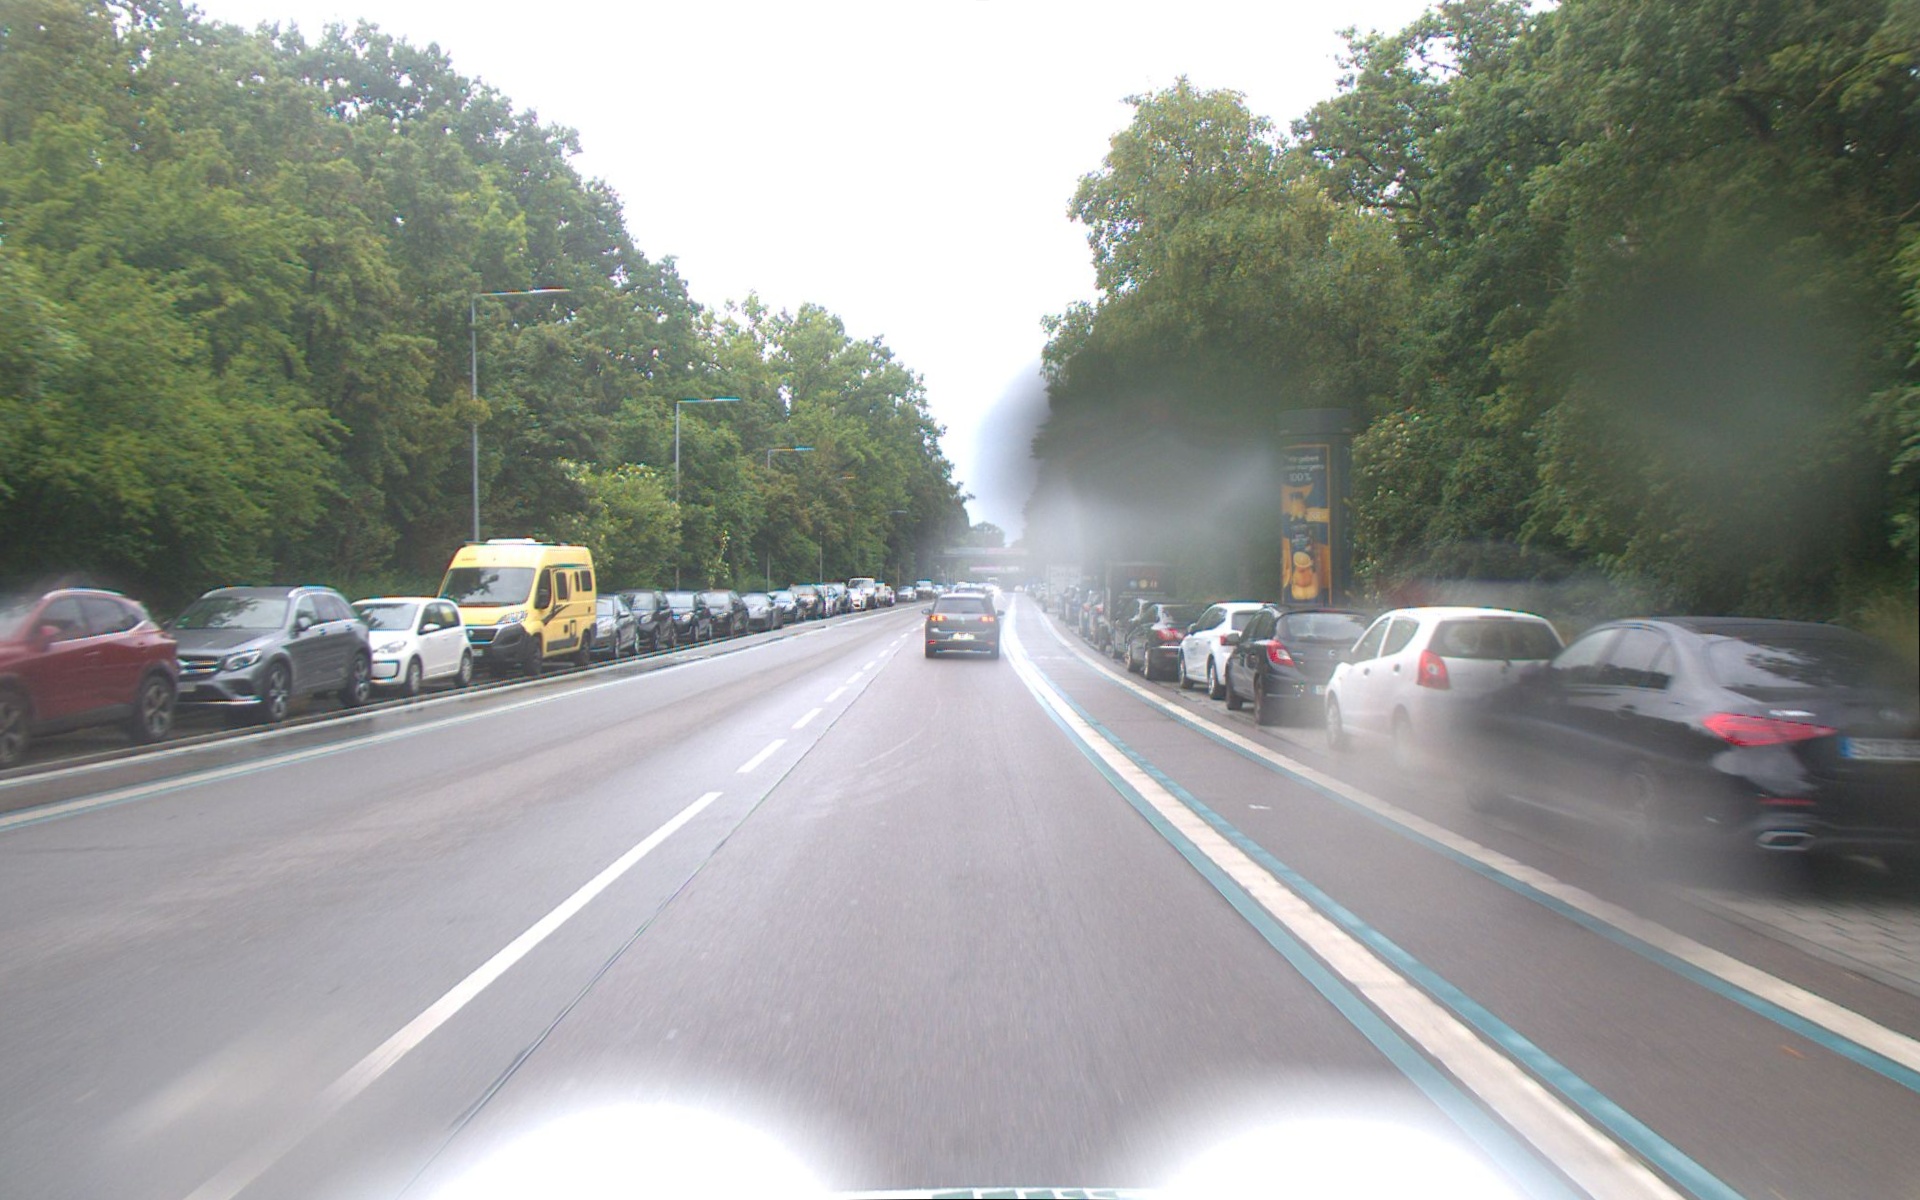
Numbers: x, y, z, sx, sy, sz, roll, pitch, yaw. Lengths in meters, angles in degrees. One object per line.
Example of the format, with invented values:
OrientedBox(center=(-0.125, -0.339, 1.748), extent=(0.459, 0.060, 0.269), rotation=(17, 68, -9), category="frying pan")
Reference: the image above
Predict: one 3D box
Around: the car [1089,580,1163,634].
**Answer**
OrientedBox(center=(4.753, 0.161, 47.897), extent=(1.758, 1.475, 4.429), rotation=(-1, 1, 1), category="car")

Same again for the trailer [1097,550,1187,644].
OrientedBox(center=(4.603, -0.114, 42.505), extent=(1.866, 2.287, 4.769), rotation=(0, 1, 1), category="trailer")

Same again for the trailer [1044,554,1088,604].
OrientedBox(center=(5.686, -1.151, 89.064), extent=(2.088, 2.605, 4.297), rotation=(0, 1, -1), category="trailer")

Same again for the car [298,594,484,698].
OrientedBox(center=(-9.028, 0.680, 26.532), extent=(1.584, 1.474, 3.658), rotation=(-1, 1, 2), category="car")

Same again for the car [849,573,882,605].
OrientedBox(center=(-6.119, -0.724, 107.516), extent=(1.900, 2.049, 4.739), rotation=(0, 1, -1), category="car")

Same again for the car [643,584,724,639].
OrientedBox(center=(-8.186, 0.303, 49.250), extent=(1.569, 1.536, 3.978), rotation=(0, 1, 3), category="car")

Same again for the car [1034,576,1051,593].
OrientedBox(center=(9.820, -1.870, 197.262), extent=(1.952, 2.049, 4.000), rotation=(0, 0, 1), category="car")

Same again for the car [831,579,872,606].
OrientedBox(center=(-6.348, -0.451, 97.139), extent=(1.952, 1.514, 4.470), rotation=(0, 1, 2), category="car")

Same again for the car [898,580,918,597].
OrientedBox(center=(-4.814, -1.100, 152.503), extent=(1.638, 1.540, 3.631), rotation=(0, 1, 1), category="car")

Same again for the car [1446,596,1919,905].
OrientedBox(center=(4.730, 0.746, 10.583), extent=(1.818, 1.480, 4.751), rotation=(1, 1, 0), category="car")

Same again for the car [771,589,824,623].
OrientedBox(center=(-6.729, 0.243, 68.889), extent=(1.661, 1.323, 4.194), rotation=(0, 1, 2), category="car")

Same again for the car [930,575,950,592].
OrientedBox(center=(-2.402, -1.984, 201.868), extent=(2.113, 2.049, 5.033), rotation=(-1, 1, 3), category="car")

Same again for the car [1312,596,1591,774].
OrientedBox(center=(4.626, 0.731, 16.085), extent=(1.528, 1.486, 3.675), rotation=(1, 1, -2), category="car")

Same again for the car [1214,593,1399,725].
OrientedBox(center=(4.430, 0.695, 21.654), extent=(1.625, 1.490, 3.900), rotation=(2, 1, 1), category="car")

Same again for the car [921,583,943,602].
OrientedBox(center=(-3.107, -0.832, 185.786), extent=(2.113, 2.049, 5.033), rotation=(-1, 1, 3), category="car")

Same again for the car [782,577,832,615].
OrientedBox(center=(-6.822, -0.208, 74.088), extent=(1.661, 1.611, 4.140), rotation=(0, 1, 2), category="car")

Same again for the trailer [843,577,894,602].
OrientedBox(center=(-6.230, -0.731, 112.855), extent=(1.596, 1.657, 3.663), rotation=(0, 1, 32), category="trailer")

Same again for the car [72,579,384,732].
OrientedBox(center=(-9.185, 0.605, 21.249), extent=(1.953, 1.730, 4.615), rotation=(0, 1, 0), category="car")

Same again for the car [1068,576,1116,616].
OrientedBox(center=(5.256, -0.193, 66.199), extent=(1.647, 1.507, 4.319), rotation=(0, 1, 1), category="car")

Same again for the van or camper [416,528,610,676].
OrientedBox(center=(-8.770, -0.001, 33.072), extent=(2.099, 2.673, 5.684), rotation=(-1, 1, 2), category="van or camper")

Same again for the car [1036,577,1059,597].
OrientedBox(center=(7.285, -1.129, 137.587), extent=(1.858, 1.634, 4.001), rotation=(0, 1, 2), category="car")

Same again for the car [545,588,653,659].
OrientedBox(center=(-8.453, 0.518, 39.021), extent=(1.645, 1.524, 4.148), rotation=(-1, 1, -1), category="car")

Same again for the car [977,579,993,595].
OrientedBox(center=(3.166, -1.641, 211.753), extent=(1.953, 2.049, 3.999), rotation=(0, 0, -1), category="car")

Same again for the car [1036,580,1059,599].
OrientedBox(center=(7.524, -0.916, 142.201), extent=(1.858, 1.634, 4.001), rotation=(0, 1, 2), category="car")

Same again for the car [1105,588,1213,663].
OrientedBox(center=(4.397, 0.526, 37.080), extent=(1.785, 1.511, 4.199), rotation=(2, 1, -2), category="car")

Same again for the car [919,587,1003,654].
OrientedBox(center=(0.007, 0.476, 38.851), extent=(1.833, 1.466, 4.295), rotation=(1, -1, 0), category="car")

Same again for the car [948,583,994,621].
OrientedBox(center=(0.447, 0.060, 70.754), extent=(1.843, 1.491, 3.999), rotation=(2, 1, -1), category="car")

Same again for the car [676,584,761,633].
OrientedBox(center=(-7.808, 0.247, 53.830), extent=(1.952, 1.477, 4.140), rotation=(0, 1, 3), category="car")

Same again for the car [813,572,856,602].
OrientedBox(center=(-6.833, -0.746, 90.651), extent=(1.840, 1.588, 4.470), rotation=(0, 1, 2), category="car")

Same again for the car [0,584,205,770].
OrientedBox(center=(-9.439, 0.693, 16.184), extent=(1.879, 1.645, 4.491), rotation=(-1, 1, 2), category="car")

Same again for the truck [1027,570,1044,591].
OrientedBox(center=(9.660, -2.538, 212.300), extent=(2.069, 2.644, 4.302), rotation=(-1, 1, 2), category="truck")

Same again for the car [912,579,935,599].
OrientedBox(center=(-3.881, -1.191, 177.648), extent=(2.113, 2.049, 5.033), rotation=(-1, 1, 3), category="car")

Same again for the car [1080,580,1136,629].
OrientedBox(center=(4.761, 0.108, 53.520), extent=(1.581, 1.496, 4.001), rotation=(1, 1, 2), category="car")

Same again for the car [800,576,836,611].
OrientedBox(center=(-6.734, -0.320, 78.503), extent=(1.431, 1.598, 2.984), rotation=(-1, 1, 0), category="car")

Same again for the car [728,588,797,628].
OrientedBox(center=(-6.991, 0.256, 58.865), extent=(1.831, 1.326, 4.471), rotation=(0, 1, 1), category="car")

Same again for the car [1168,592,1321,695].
OrientedBox(center=(4.484, 0.638, 26.548), extent=(1.585, 1.492, 3.998), rotation=(1, 1, -3), category="car")

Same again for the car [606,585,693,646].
OrientedBox(center=(-8.211, 0.386, 43.900), extent=(1.569, 1.536, 3.140), rotation=(0, 1, 3), category="car")

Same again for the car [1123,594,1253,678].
OrientedBox(center=(4.249, 0.633, 31.438), extent=(1.716, 1.418, 4.444), rotation=(2, 0, -2), category="car")

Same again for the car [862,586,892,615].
OrientedBox(center=(-5.906, 0.016, 118.108), extent=(1.900, 2.049, 4.739), rotation=(0, 1, -1), category="car")
